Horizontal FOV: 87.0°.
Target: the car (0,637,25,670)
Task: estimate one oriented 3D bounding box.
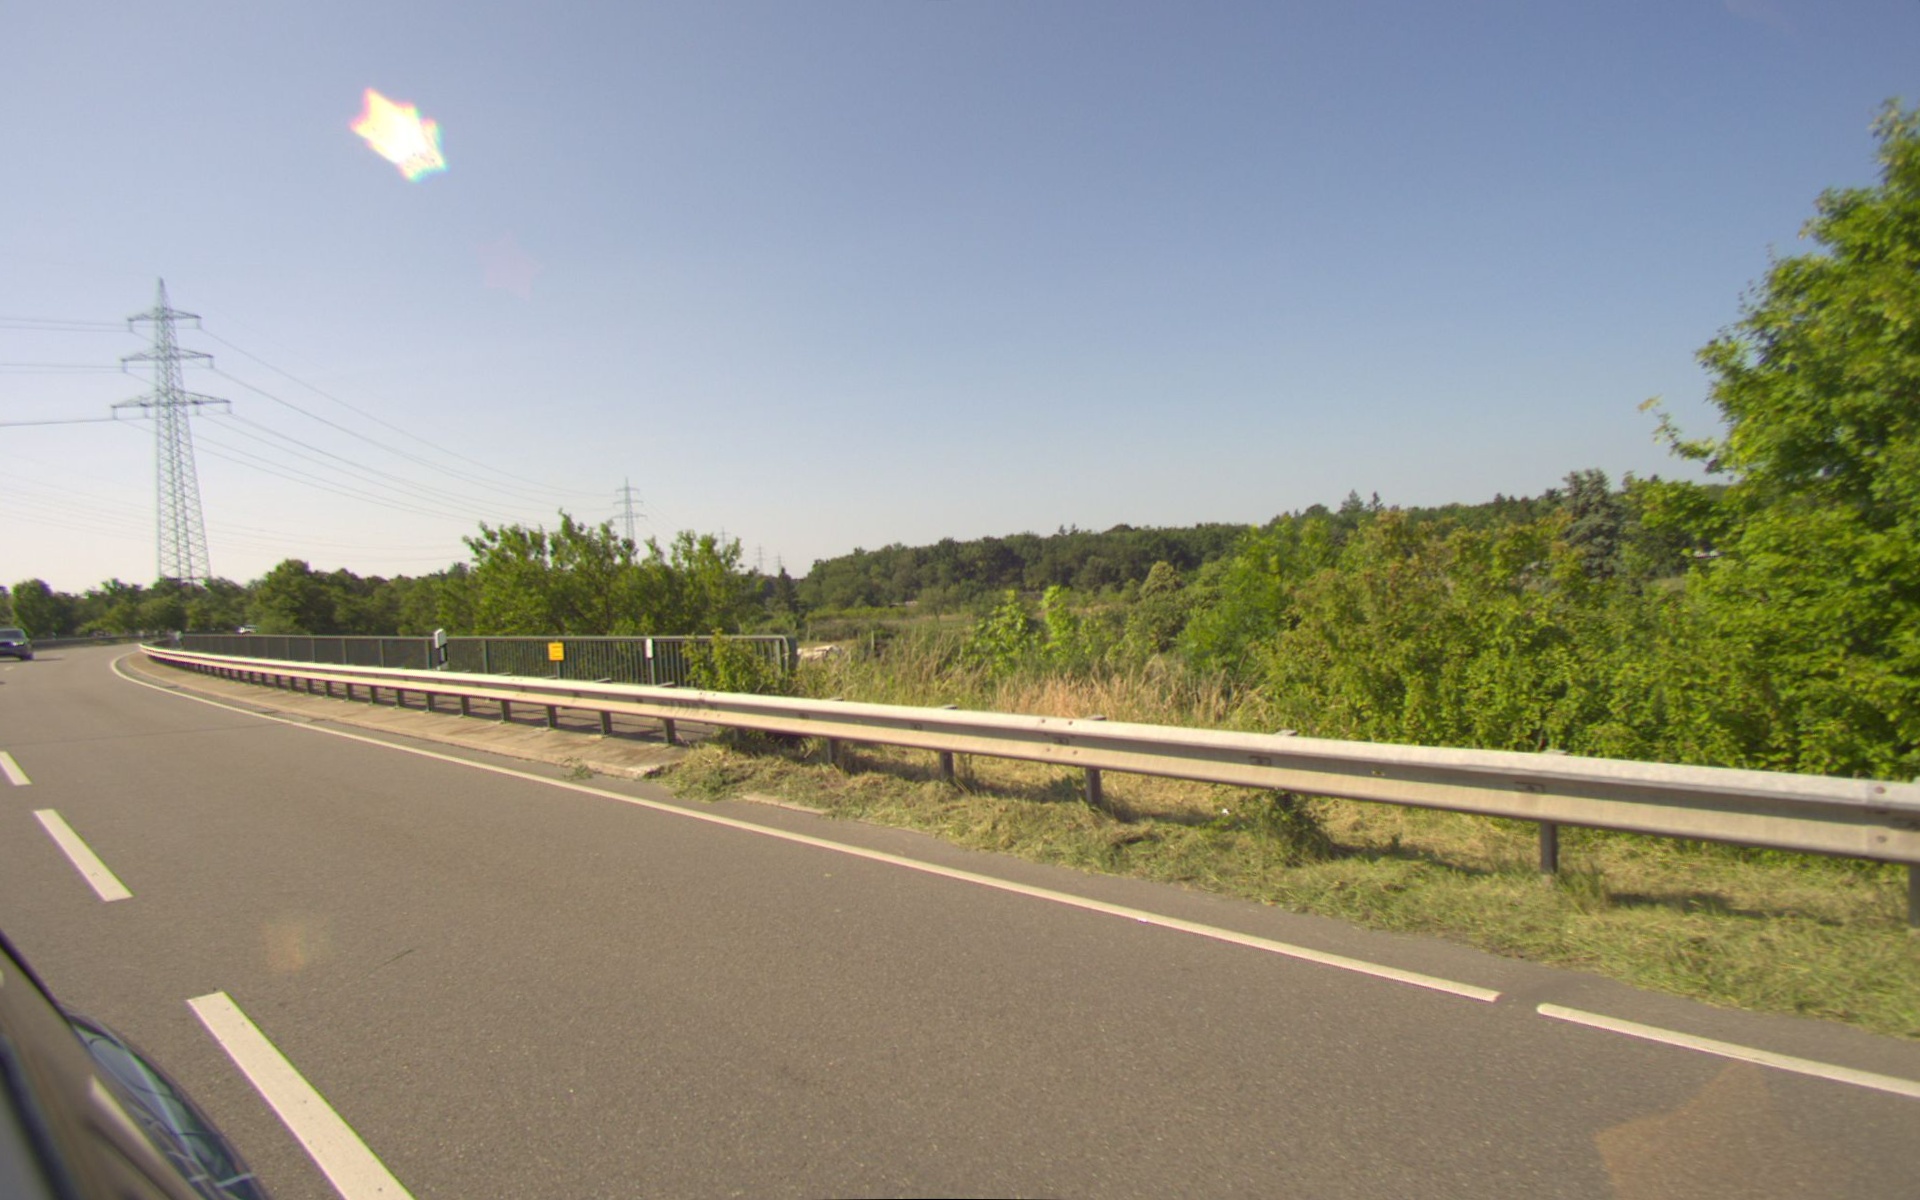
[{"bbox_3d":[-49.092,2.731,51.730,1.582,1.506,4.008,-2,1,-38],"label":"car"}]
